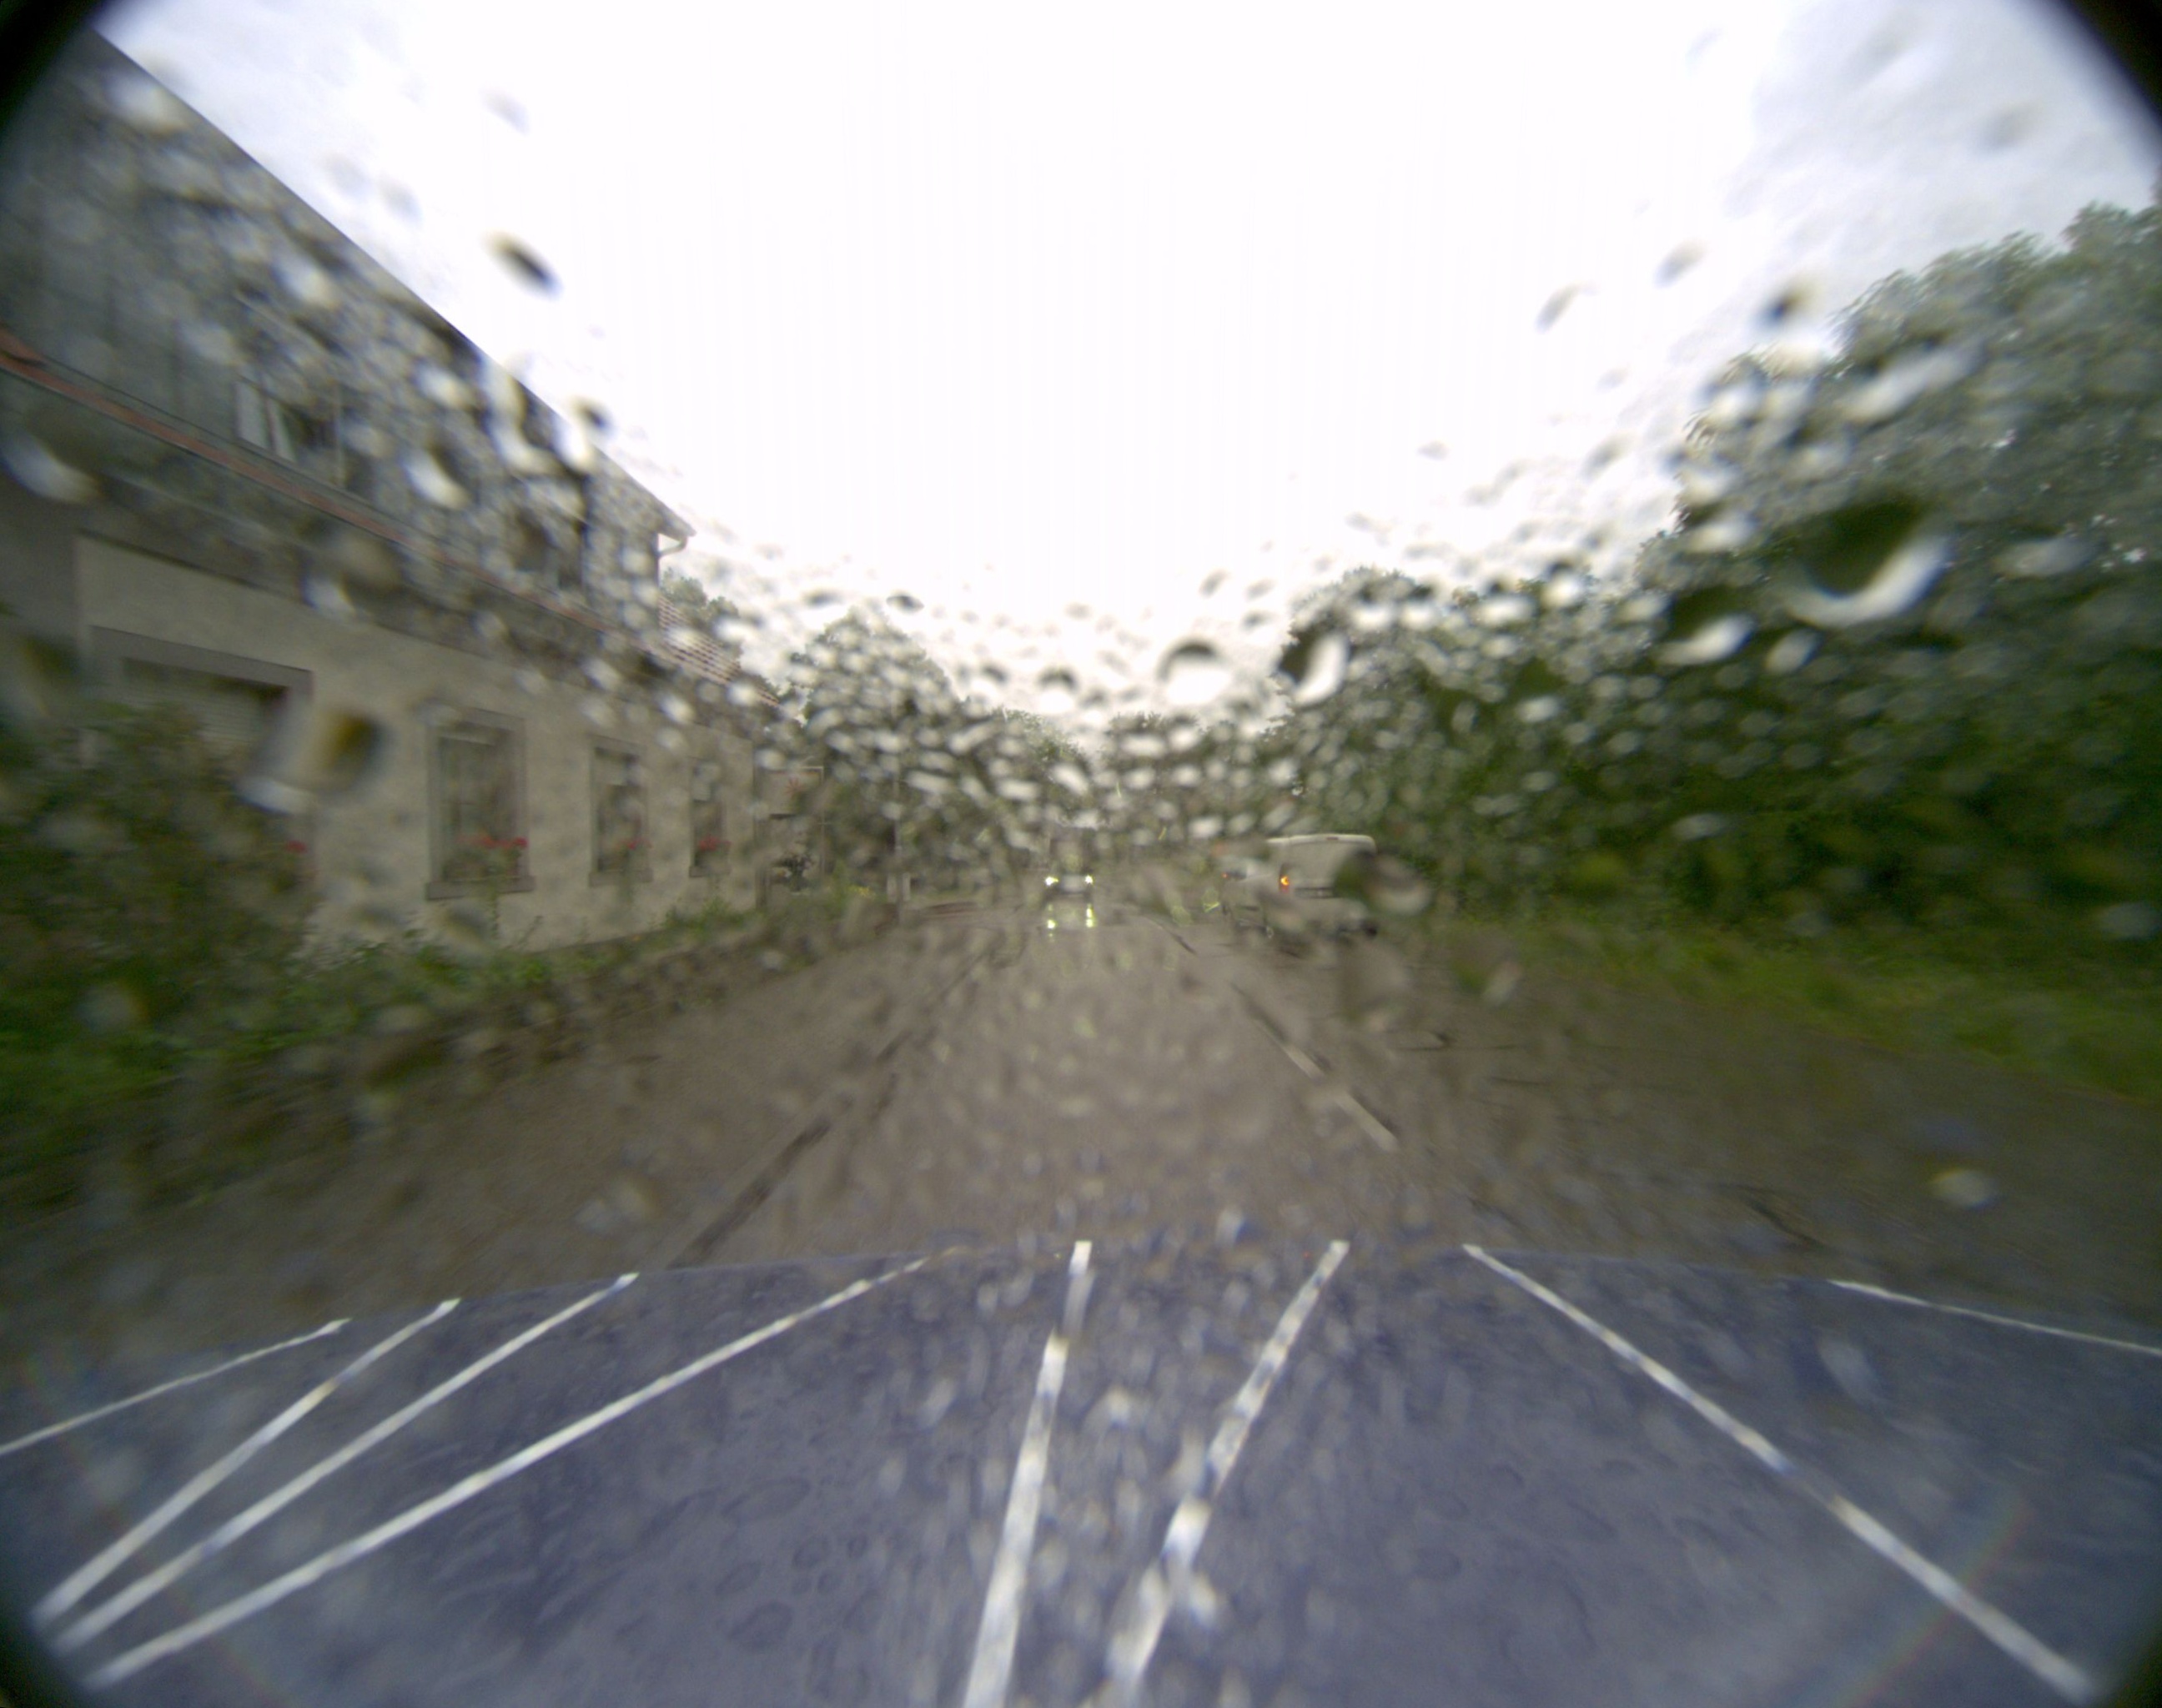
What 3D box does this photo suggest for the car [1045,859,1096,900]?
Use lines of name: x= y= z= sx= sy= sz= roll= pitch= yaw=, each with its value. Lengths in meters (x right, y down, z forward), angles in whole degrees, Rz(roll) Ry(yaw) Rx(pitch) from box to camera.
car: x=-0.329 y=0.929 z=29.374 sx=1.766 sy=1.316 sz=4.549 roll=-2 pitch=1 yaw=1

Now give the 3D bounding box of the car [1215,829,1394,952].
car: x=3.846 y=0.551 z=13.813 sx=1.837 sy=1.853 sz=3.953 roll=-2 pitch=1 yaw=-4
